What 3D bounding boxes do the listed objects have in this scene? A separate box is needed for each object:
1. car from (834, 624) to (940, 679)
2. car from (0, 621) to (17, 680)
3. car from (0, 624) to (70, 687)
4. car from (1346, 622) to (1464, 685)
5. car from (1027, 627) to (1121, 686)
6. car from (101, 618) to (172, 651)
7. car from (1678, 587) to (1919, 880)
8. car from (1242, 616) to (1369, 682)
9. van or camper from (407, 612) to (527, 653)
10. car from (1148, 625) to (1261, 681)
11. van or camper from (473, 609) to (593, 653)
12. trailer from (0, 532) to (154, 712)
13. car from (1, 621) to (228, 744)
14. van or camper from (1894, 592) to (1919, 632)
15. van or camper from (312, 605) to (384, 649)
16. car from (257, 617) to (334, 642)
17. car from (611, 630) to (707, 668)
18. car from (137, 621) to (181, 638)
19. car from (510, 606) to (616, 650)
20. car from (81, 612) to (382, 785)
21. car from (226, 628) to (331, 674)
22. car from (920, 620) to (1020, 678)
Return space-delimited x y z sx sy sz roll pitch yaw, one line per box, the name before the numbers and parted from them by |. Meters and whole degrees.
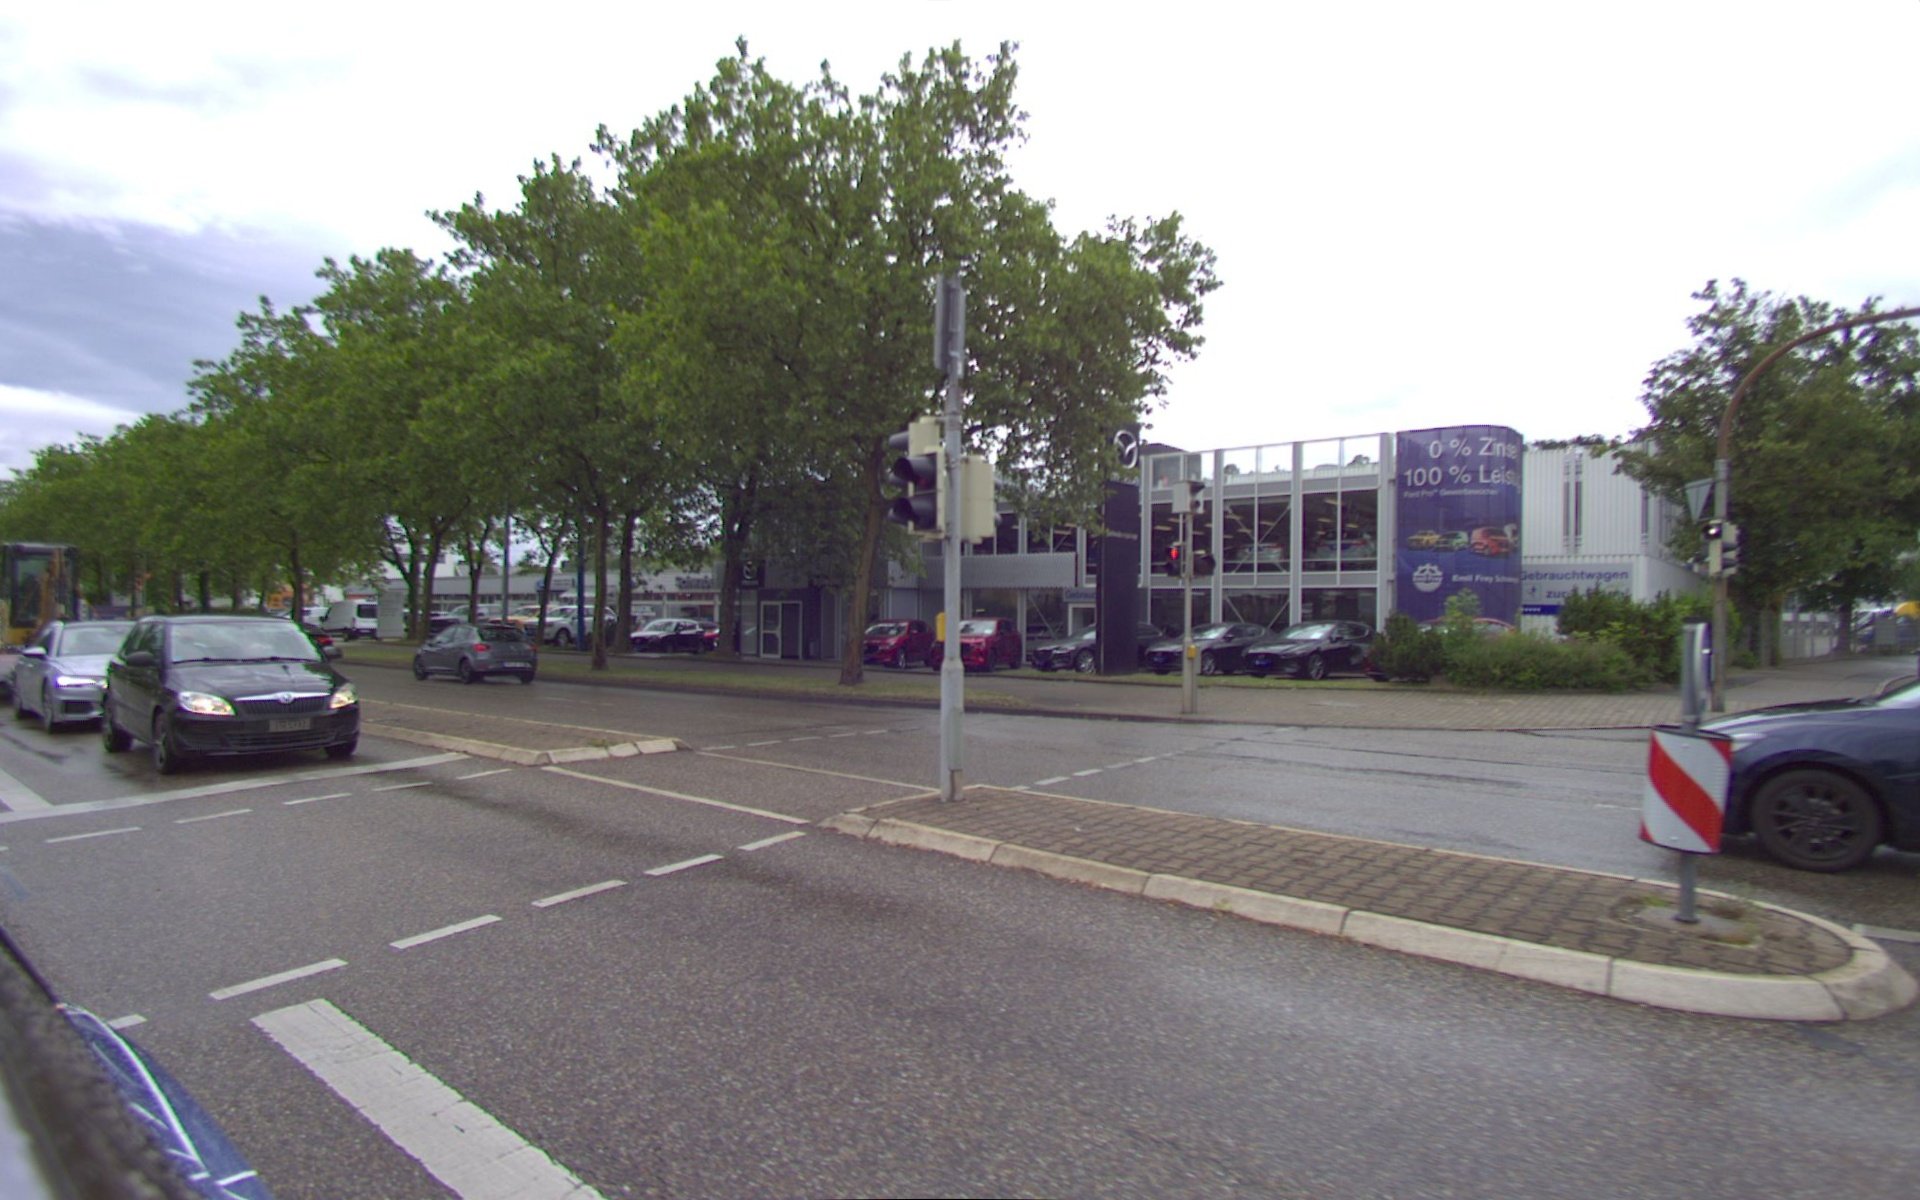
car | -2.348 1.650 33.882 1.984 1.608 4.541 -1 0 19
car | -28.156 1.384 28.475 4.878 1.590 1.887 -1 -2 42
car | -23.293 1.322 24.587 4.553 1.440 1.972 -2 -4 42
car | 10.215 1.188 23.105 1.687 1.304 3.706 -1 -3 36
car | 3.404 1.619 29.565 1.983 1.608 4.207 0 -3 18
car | -38.946 1.621 47.851 4.079 1.476 1.693 -1 -2 38
car | 6.467 0.738 5.604 3.994 1.592 1.694 -1 -3 38
car | 8.615 1.164 25.043 1.875 1.500 3.943 -1 -2 36
van or camper | -23.527 1.533 48.565 2.246 1.835 5.273 0 -1 15
car | 6.661 1.377 27.324 1.687 1.401 3.706 -1 -2 36
van or camper | -19.616 1.402 46.821 2.088 1.783 5.342 3 0 18
trailer | -17.164 0.401 18.795 5.541 2.919 2.348 -1 -2 40
car | -12.085 1.036 14.341 4.778 1.469 1.747 -1 -2 41
van or camper | 59.134 0.714 59.762 5.720 2.374 1.914 -2 -2 41
van or camper | -37.068 1.617 61.202 6.399 2.489 1.972 -1 0 42
car | -55.744 2.461 84.975 2.127 2.029 4.995 -1 -2 39
car | -12.593 2.013 42.607 1.980 1.461 4.450 0 -1 12
car | -71.458 2.591 90.303 5.243 1.507 2.096 -1 -2 41
car | -17.342 1.230 44.463 1.984 1.829 4.441 -1 -1 18
car | -7.855 0.906 10.775 4.075 1.501 1.695 -1 -2 41
car | -22.430 1.654 33.276 4.170 1.393 1.693 -1 -4 39
car | 0.395 1.523 32.017 1.996 1.666 4.207 0 -2 18
